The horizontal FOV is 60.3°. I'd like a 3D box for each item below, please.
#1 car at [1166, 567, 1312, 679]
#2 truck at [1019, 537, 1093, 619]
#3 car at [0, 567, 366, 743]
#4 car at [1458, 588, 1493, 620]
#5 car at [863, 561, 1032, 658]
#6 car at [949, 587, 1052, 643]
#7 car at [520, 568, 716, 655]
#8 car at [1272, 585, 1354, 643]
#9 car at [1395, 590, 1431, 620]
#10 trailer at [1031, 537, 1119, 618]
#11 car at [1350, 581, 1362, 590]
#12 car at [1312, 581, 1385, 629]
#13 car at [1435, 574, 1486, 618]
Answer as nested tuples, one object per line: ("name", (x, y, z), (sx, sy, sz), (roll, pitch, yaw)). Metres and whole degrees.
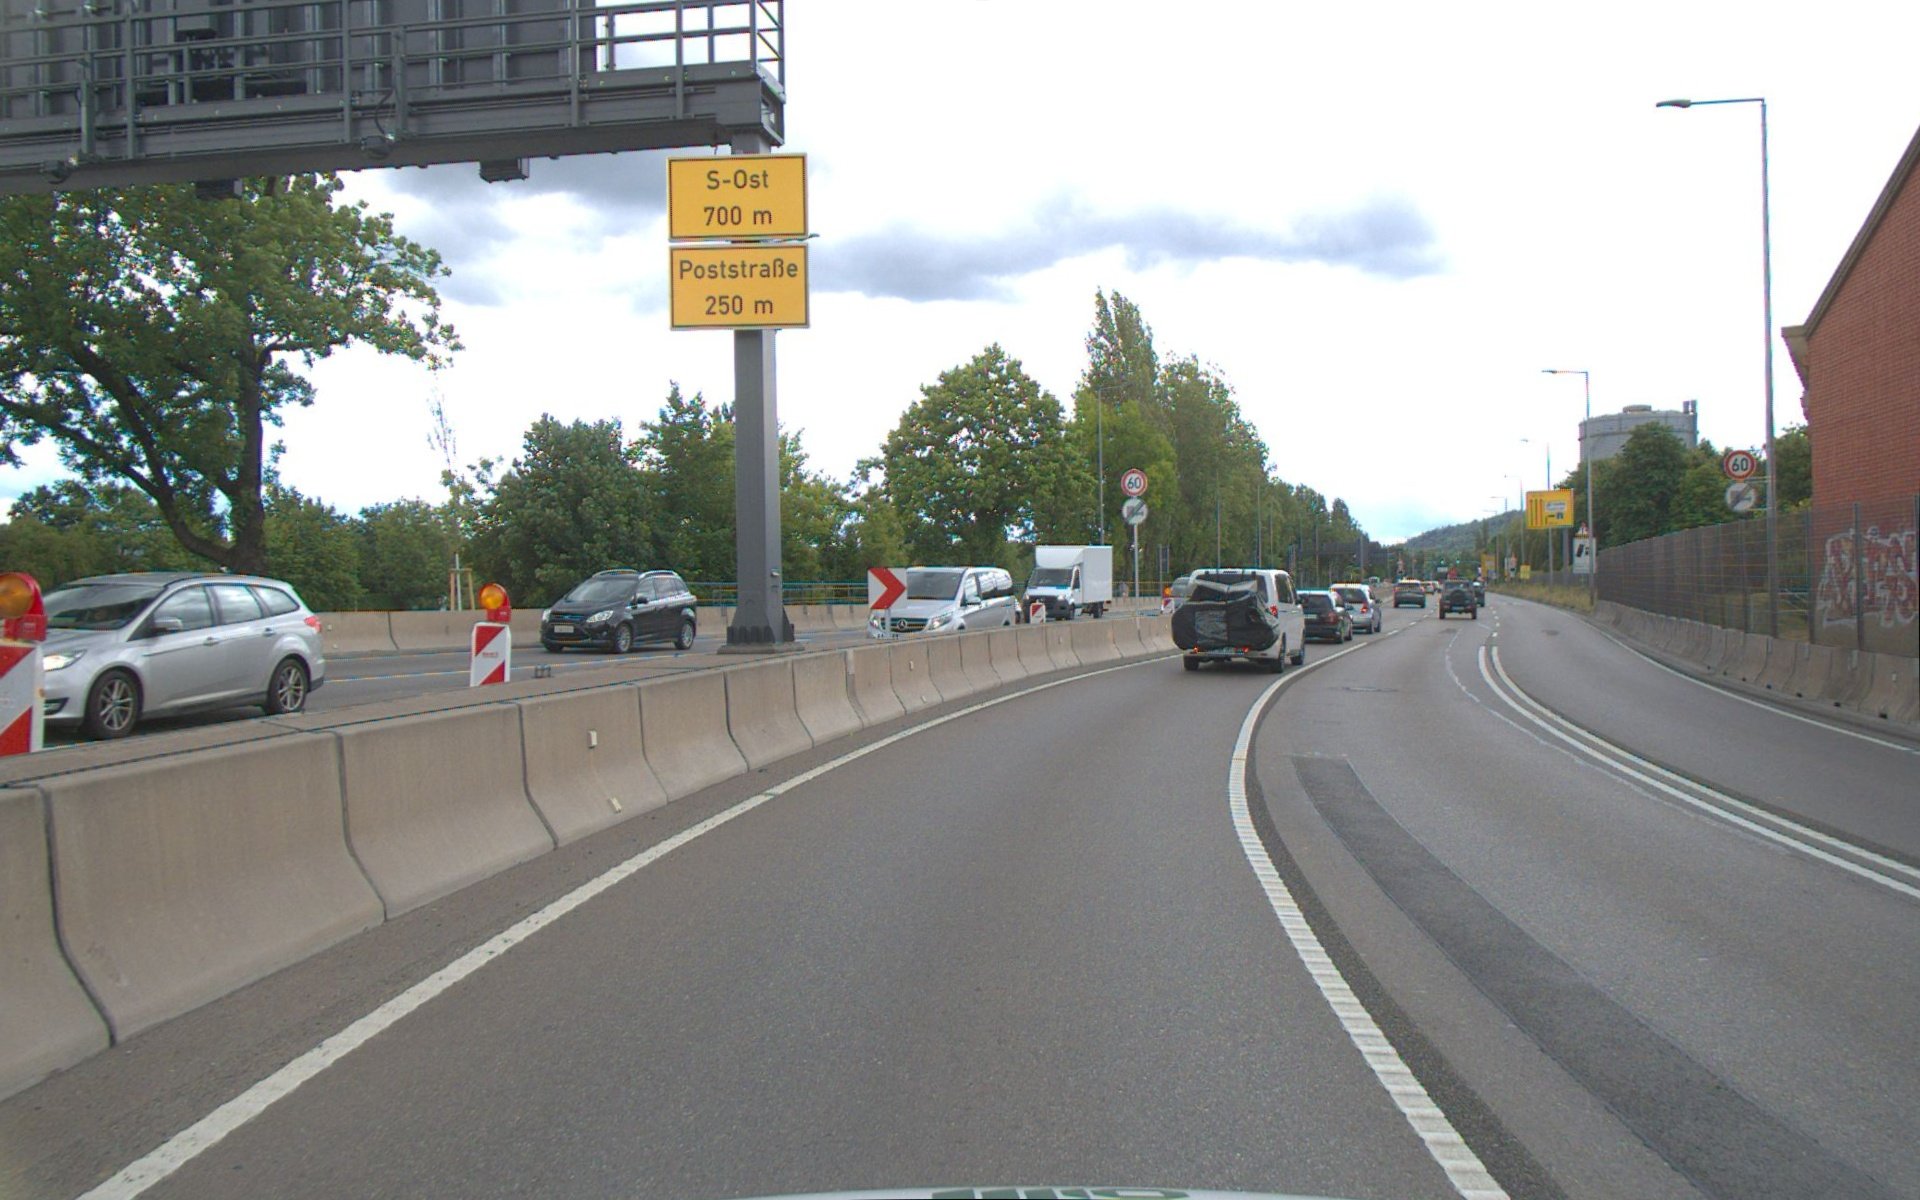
("car", (5.411, 0.347, 31.485), (1.951, 1.891, 5.644), (2, 1, 17))
("truck", (3.824, -0.862, 65.469), (2.225, 3.168, 2.989), (1, 0, 18))
("car", (-7.862, 0.433, 16.094), (1.755, 1.446, 4.653), (1, 0, 11))
("car", (32.297, 0.246, 103.725), (1.951, 1.937, 4.003), (-1, 0, 15))
("car", (-0.129, 0.170, 34.702), (1.910, 1.838, 5.796), (1, 0, 17))
("car", (1.200, 0.392, 46.409), (1.823, 1.478, 4.574), (0, 0, 16))
("car", (-7.199, 0.223, 35.344), (1.952, 1.701, 4.730), (1, 0, 19))
("car", (9.751, 0.357, 45.488), (1.777, 1.459, 4.067), (-2, 0, 18))
("car", (27.170, 0.302, 99.123), (1.951, 1.702, 4.002), (1, 0, 17))
("trailer", (4.831, -0.898, 68.565), (2.225, 3.192, 5.714), (1, 0, 18))
("car", (57.990, -2.136, 242.249), (1.696, 1.398, 3.620), (0, 1, 13))
("car", (12.779, 0.141, 54.237), (1.881, 1.515, 4.066), (0, 1, 19))
("car", (22.469, -0.169, 74.392), (1.951, 1.892, 4.003), (-1, 0, 14))
